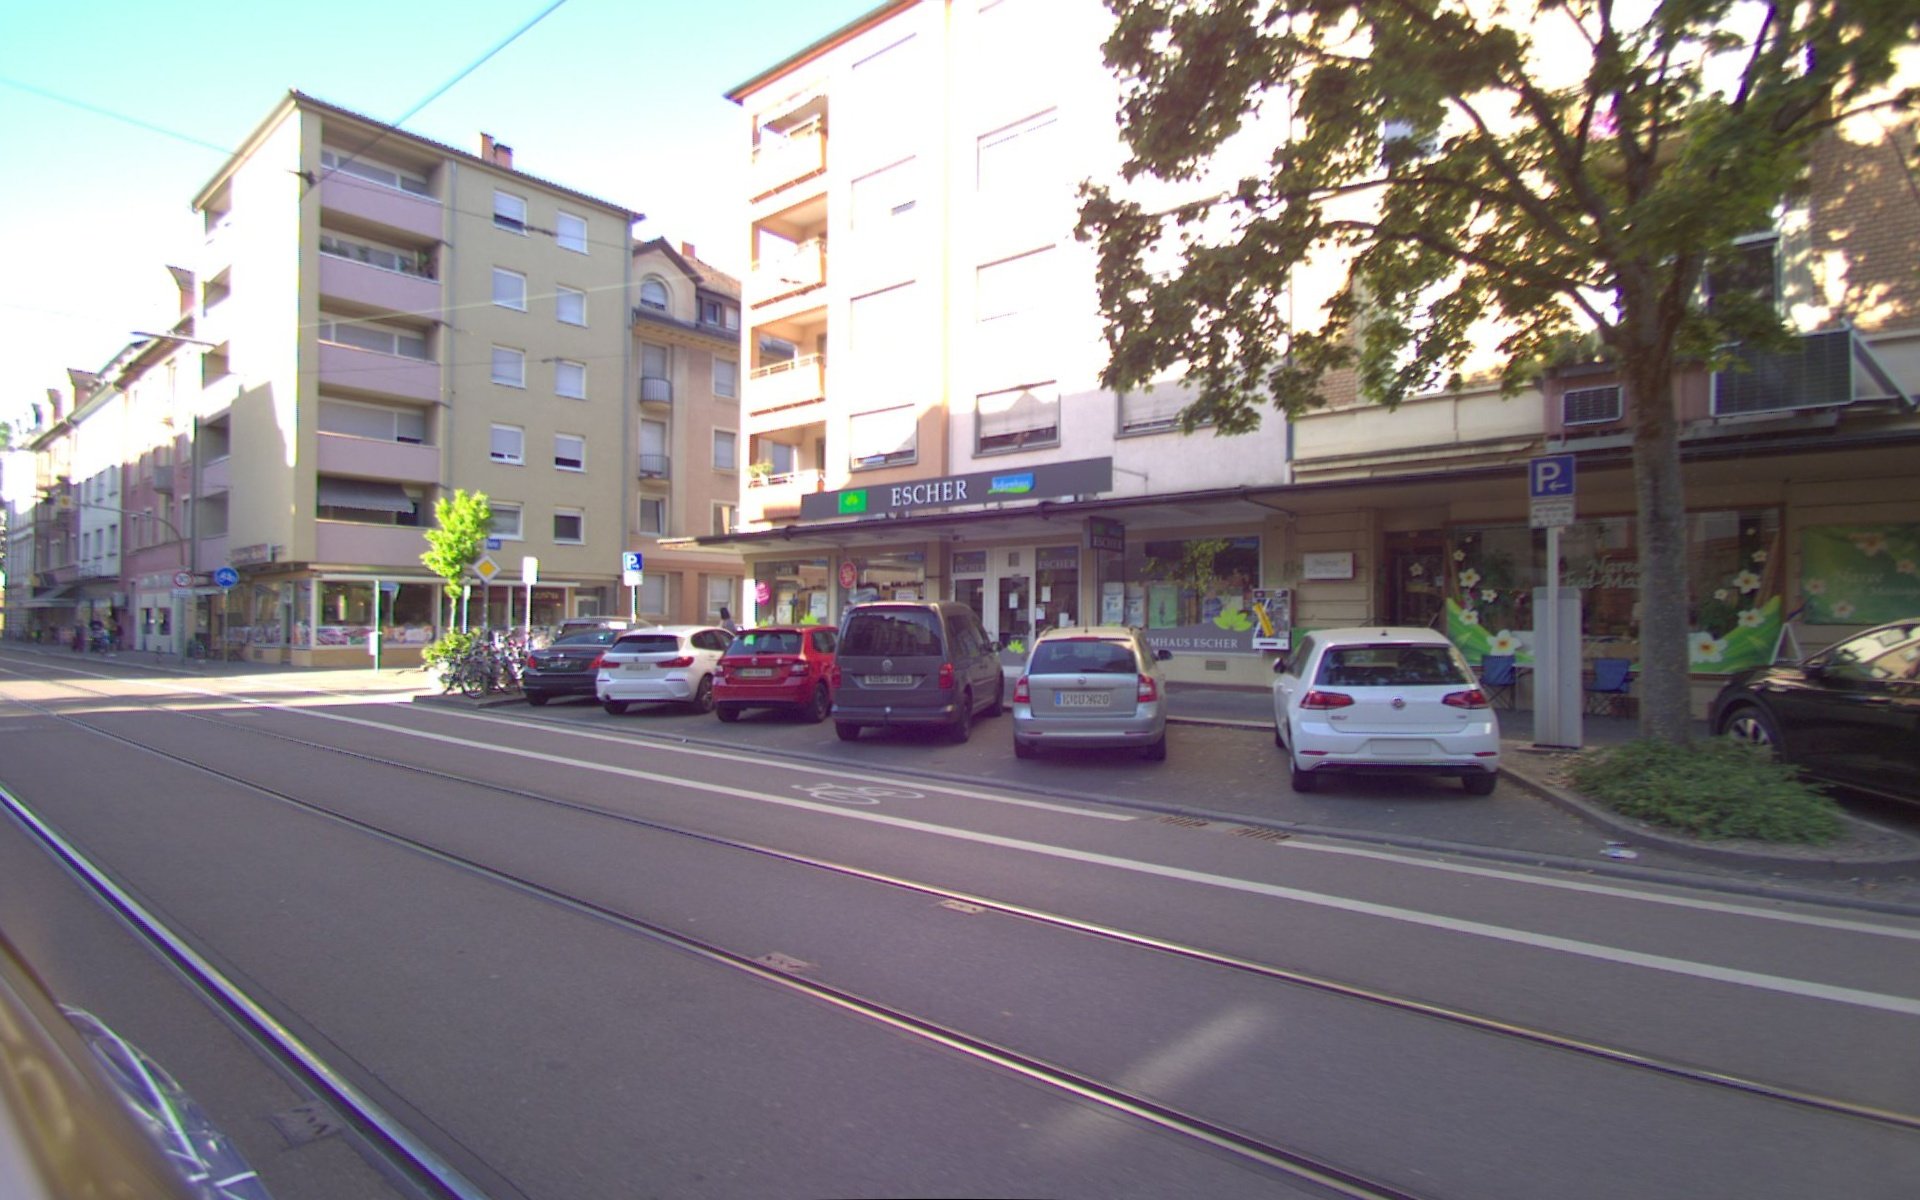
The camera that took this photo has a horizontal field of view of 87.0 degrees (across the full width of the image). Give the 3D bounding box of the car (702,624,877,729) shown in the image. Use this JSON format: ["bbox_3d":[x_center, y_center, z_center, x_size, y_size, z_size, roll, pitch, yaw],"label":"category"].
[{"bbox_3d":[-2.607,1.153,16.252,1.631,1.484,3.458,-1,-2,12],"label":"car"}]

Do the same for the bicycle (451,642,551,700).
[{"bbox_3d":[-9.698,1.498,21.393,1.867,1.132,0.681,-2,-3,10],"label":"bicycle"}]

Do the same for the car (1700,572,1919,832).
[{"bbox_3d":[7.628,0.702,7.131,1.972,1.796,4.357,0,-1,7],"label":"car"}]

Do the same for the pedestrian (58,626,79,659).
[{"bbox_3d":[-42.310,2.013,48.033,0.623,1.560,0.629,-1,-1,40],"label":"pedestrian"}]

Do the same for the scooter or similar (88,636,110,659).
[{"bbox_3d":[-41.074,2.255,48.280,1.104,1.069,0.655,-2,-2,41],"label":"scooter or similar"}]

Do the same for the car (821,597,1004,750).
[{"bbox_3d":[-0.503,0.877,14.085,1.777,1.798,3.811,0,0,10],"label":"car"}]

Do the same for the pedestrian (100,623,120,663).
[{"bbox_3d":[-36.563,1.855,43.515,0.616,1.698,0.557,-1,-1,40],"label":"pedestrian"}]

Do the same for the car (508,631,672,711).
[{"bbox_3d":[-7.026,1.297,19.564,1.605,1.348,3.464,0,-1,7],"label":"car"}]

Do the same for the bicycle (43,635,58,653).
[{"bbox_3d":[-57.436,2.750,63.897,2.328,1.068,0.420,-1,-1,41],"label":"bicycle"}]

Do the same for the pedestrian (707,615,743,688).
[{"bbox_3d":[-5.457,1.186,23.496,0.641,1.665,0.563,-1,-1,41],"label":"pedestrian"}]

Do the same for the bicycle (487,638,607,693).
[{"bbox_3d":[-9.262,1.465,22.776,2.396,1.118,0.685,-2,-3,-9],"label":"bicycle"}]

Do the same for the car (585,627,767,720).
[{"bbox_3d":[-4.827,1.199,17.760,1.734,1.411,3.782,0,-1,8],"label":"car"}]

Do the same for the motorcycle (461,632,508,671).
[{"bbox_3d":[-15.758,1.684,33.505,2.175,1.219,0.613,-1,-1,41],"label":"motorcycle"}]

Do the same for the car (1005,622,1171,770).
[{"bbox_3d":[1.657,1.014,12.331,1.681,1.460,4.005,0,-1,11],"label":"car"}]

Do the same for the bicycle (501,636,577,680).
[{"bbox_3d":[-11.403,1.589,27.386,2.429,1.118,0.676,-4,-3,35],"label":"bicycle"}]

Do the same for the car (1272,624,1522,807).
[{"bbox_3d":[4.174,0.977,10.266,1.749,1.440,3.826,0,-1,15],"label":"car"}]

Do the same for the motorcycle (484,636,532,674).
[{"bbox_3d":[-15.233,1.833,34.084,2.175,1.219,0.613,-1,-1,41],"label":"motorcycle"}]

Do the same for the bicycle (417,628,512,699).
[{"bbox_3d":[-9.842,1.272,20.060,2.431,1.330,0.675,-4,-3,37],"label":"bicycle"}]

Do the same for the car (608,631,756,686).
[{"bbox_3d":[-8.460,1.774,30.940,3.957,1.403,1.843,-4,-2,11],"label":"car"}]
